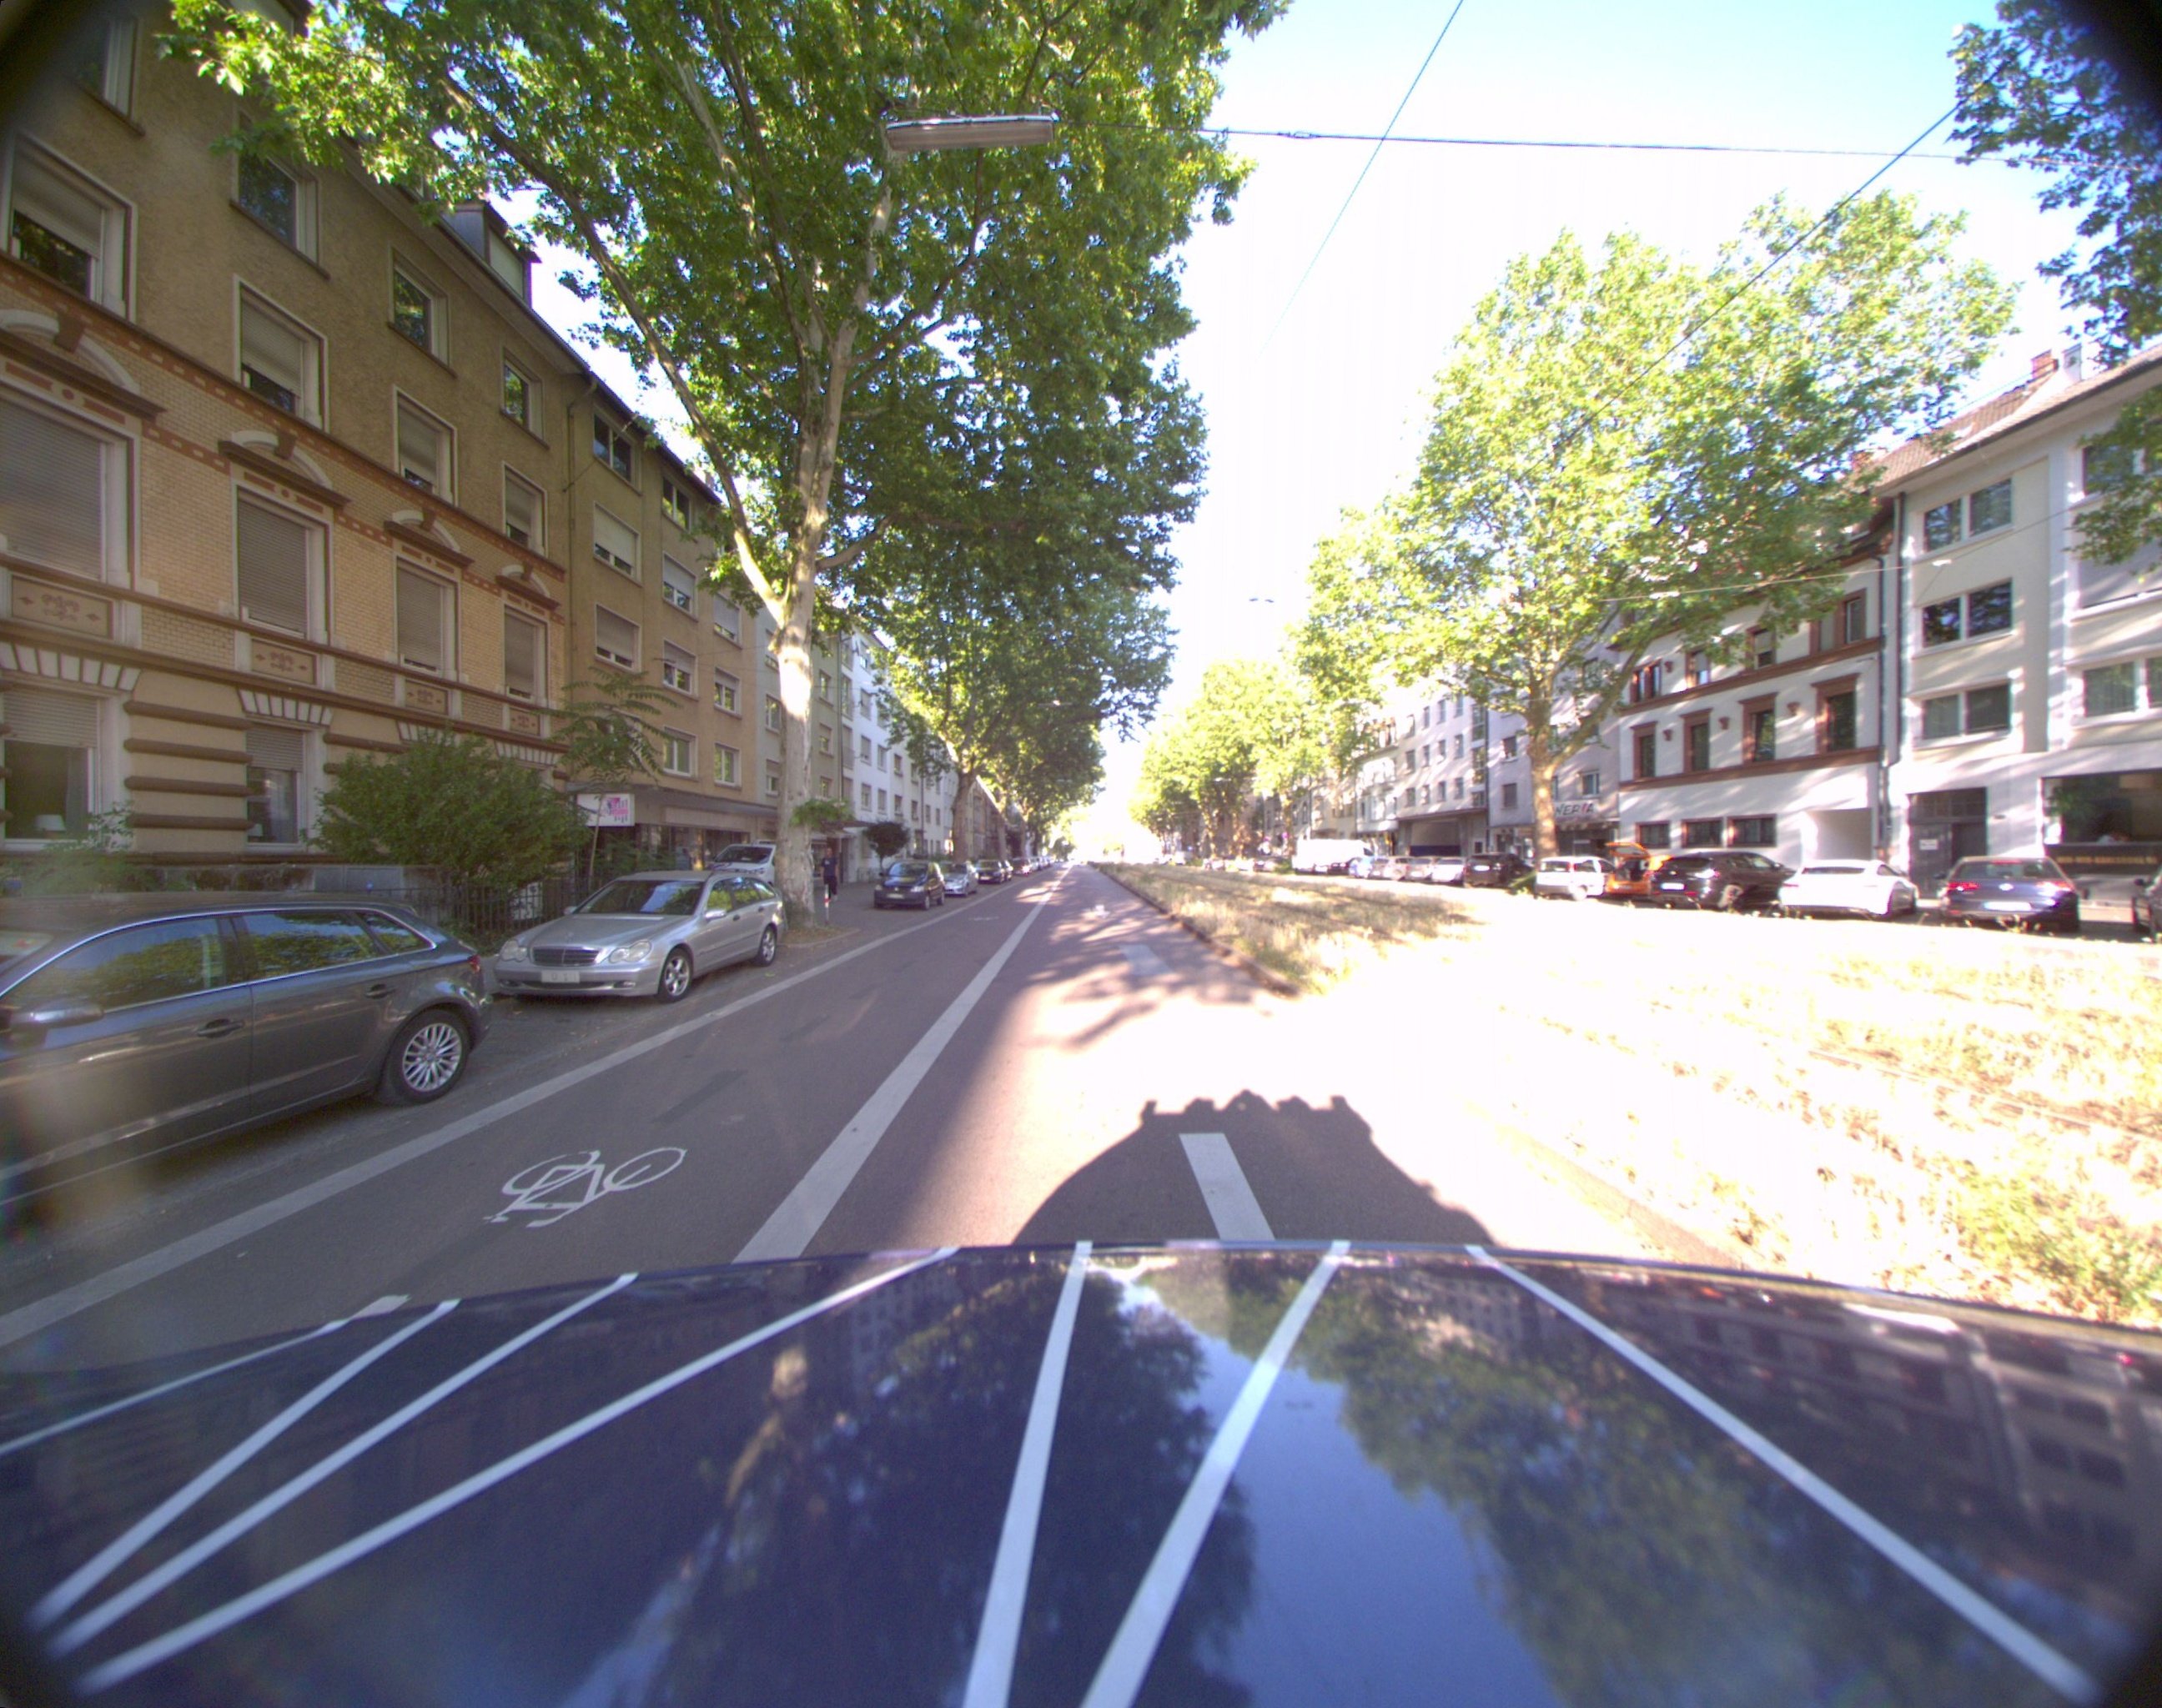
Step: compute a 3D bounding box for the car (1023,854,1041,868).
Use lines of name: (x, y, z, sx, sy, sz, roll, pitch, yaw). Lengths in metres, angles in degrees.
car: (-5.542, 0.807, 86.409, 1.702, 1.517, 4.194, 0, 0, 0)

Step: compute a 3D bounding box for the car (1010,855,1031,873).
car: (-5.279, 0.871, 66.490, 1.748, 1.455, 4.024, 0, 0, -5)

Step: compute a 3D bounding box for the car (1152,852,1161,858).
car: (20.197, 0.359, 202.881, 1.998, 1.412, 4.000, -2, 1, 2)

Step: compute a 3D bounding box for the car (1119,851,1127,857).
car: (11.339, -0.025, 204.776, 1.997, 1.477, 4.002, -2, 1, 8)

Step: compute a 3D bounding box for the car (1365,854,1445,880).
car: (19.174, 0.730, 45.085, 4.002, 1.483, 1.948, 0, 0, -13)

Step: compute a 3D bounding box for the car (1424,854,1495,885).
car: (18.898, 0.758, 37.860, 4.008, 1.377, 1.907, -2, 0, -45)

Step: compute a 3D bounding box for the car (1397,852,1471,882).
car: (19.064, 0.682, 40.955, 4.006, 1.414, 1.752, -3, 1, -34)

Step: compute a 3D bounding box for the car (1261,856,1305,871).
car: (18.701, 0.831, 70.265, 4.014, 1.349, 1.797, 1, 0, -37)

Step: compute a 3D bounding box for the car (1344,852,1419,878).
car: (18.962, 0.661, 48.063, 3.998, 1.412, 1.857, -3, 1, -4)

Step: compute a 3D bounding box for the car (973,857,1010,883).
car: (-5.315, 0.928, 45.679, 1.713, 1.407, 4.363, 2, 0, 0)

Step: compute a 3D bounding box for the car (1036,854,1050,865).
car: (-5.481, 0.802, 109.731, 1.790, 1.609, 3.829, 1, 0, 0)

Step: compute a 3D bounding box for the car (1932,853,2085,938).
car: (19.362, 0.783, 16.030, 4.007, 1.433, 1.797, -3, 1, -43)

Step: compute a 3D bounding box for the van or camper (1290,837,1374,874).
van or camper: (18.984, 0.089, 57.457, 5.974, 2.631, 2.175, -1, 0, -20)

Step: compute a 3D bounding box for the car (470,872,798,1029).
car: (-5.342, 1.027, 9.931, 1.678, 1.443, 4.570, 0, 0, -2)

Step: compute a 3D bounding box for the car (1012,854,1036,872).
car: (-5.481, 0.822, 73.266, 1.999, 1.557, 4.663, 2, 1, 0)

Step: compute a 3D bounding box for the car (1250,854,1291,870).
car: (19.222, 0.822, 76.932, 4.008, 1.524, 1.821, 1, -1, -36)

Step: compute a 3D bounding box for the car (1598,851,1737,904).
car: (19.499, 0.745, 25.267, 4.003, 1.471, 1.774, -3, 1, -20)

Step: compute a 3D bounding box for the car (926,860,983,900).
car: (-5.309, 1.062, 32.480, 1.699, 1.533, 4.776, 0, 0, -1)

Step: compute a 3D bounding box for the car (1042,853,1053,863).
car: (-5.591, 0.661, 127.093, 1.791, 1.585, 4.013, 1, 0, -2)

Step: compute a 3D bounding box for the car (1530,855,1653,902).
car: (18.040, 0.823, 26.817, 4.369, 1.440, 1.655, -2, 1, -26)

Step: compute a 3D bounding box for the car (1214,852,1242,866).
car: (18.836, 0.653, 97.411, 1.726, 1.643, 4.009, -1, -1, 40)

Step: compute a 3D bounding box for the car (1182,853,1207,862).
car: (18.981, 0.611, 127.201, 4.006, 1.240, 1.726, -4, 1, -34)

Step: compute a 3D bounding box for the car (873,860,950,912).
car: (-5.426, 0.976, 24.725, 1.658, 1.536, 3.999, 0, 0, -1)

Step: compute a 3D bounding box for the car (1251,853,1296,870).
car: (18.648, 0.735, 73.552, 4.169, 1.583, 1.932, 2, -1, -36)

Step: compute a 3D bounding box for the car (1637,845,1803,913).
car: (18.299, 0.698, 21.756, 4.370, 1.776, 1.989, 1, 1, -26)

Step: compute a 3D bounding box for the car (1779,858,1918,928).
car: (18.652, 0.867, 18.407, 4.212, 1.325, 1.718, -3, 1, -36)

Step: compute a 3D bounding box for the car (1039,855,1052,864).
car: (-5.606, 0.850, 119.804, 1.790, 1.458, 3.569, 1, 0, 0)

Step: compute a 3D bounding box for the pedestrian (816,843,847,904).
pedestrian: (-8.255, 0.631, 25.149, 0.684, 2.002, 1.012, 0, 1, -2)

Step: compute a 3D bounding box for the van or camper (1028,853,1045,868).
van or camper: (-5.408, 0.779, 92.708, 1.790, 1.710, 4.379, 1, 0, 1)

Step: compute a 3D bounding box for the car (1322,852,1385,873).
car: (19.707, 0.614, 54.947, 4.004, 1.482, 1.996, 0, 0, -22)

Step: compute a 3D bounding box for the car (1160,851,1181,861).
car: (18.322, 0.406, 154.812, 4.007, 2.002, 1.995, -3, 1, -42)

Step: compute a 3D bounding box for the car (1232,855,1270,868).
car: (18.213, 0.801, 81.436, 3.687, 1.382, 1.822, -1, 0, -31)

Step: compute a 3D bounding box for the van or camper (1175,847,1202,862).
van or camper: (18.367, 0.048, 129.724, 4.371, 2.386, 2.196, -4, 2, -40)

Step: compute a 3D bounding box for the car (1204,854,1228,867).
car: (15.046, 0.683, 85.122, 1.825, 1.382, 4.483, 2, 0, -1)

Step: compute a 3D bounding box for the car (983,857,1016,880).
car: (-5.401, 0.937, 50.570, 1.713, 1.407, 4.363, 2, 0, 0)

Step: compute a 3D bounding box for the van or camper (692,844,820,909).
van or camper: (-10.436, 0.648, 24.959, 1.947, 1.911, 5.390, 0, 0, -1)

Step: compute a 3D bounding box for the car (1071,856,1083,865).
car: (-0.728, 1.115, 132.668, 1.893, 1.501, 4.000, -2, 1, 1)

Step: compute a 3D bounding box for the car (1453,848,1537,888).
car: (18.685, 0.596, 34.237, 4.008, 1.651, 1.995, -1, 0, -41)

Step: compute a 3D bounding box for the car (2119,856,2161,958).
car: (19.057, 0.825, 12.689, 4.007, 1.433, 1.717, -3, 1, -41)

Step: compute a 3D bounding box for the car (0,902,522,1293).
car: (-5.182, 1.070, 3.664, 1.714, 1.388, 4.321, 0, 0, 1)
